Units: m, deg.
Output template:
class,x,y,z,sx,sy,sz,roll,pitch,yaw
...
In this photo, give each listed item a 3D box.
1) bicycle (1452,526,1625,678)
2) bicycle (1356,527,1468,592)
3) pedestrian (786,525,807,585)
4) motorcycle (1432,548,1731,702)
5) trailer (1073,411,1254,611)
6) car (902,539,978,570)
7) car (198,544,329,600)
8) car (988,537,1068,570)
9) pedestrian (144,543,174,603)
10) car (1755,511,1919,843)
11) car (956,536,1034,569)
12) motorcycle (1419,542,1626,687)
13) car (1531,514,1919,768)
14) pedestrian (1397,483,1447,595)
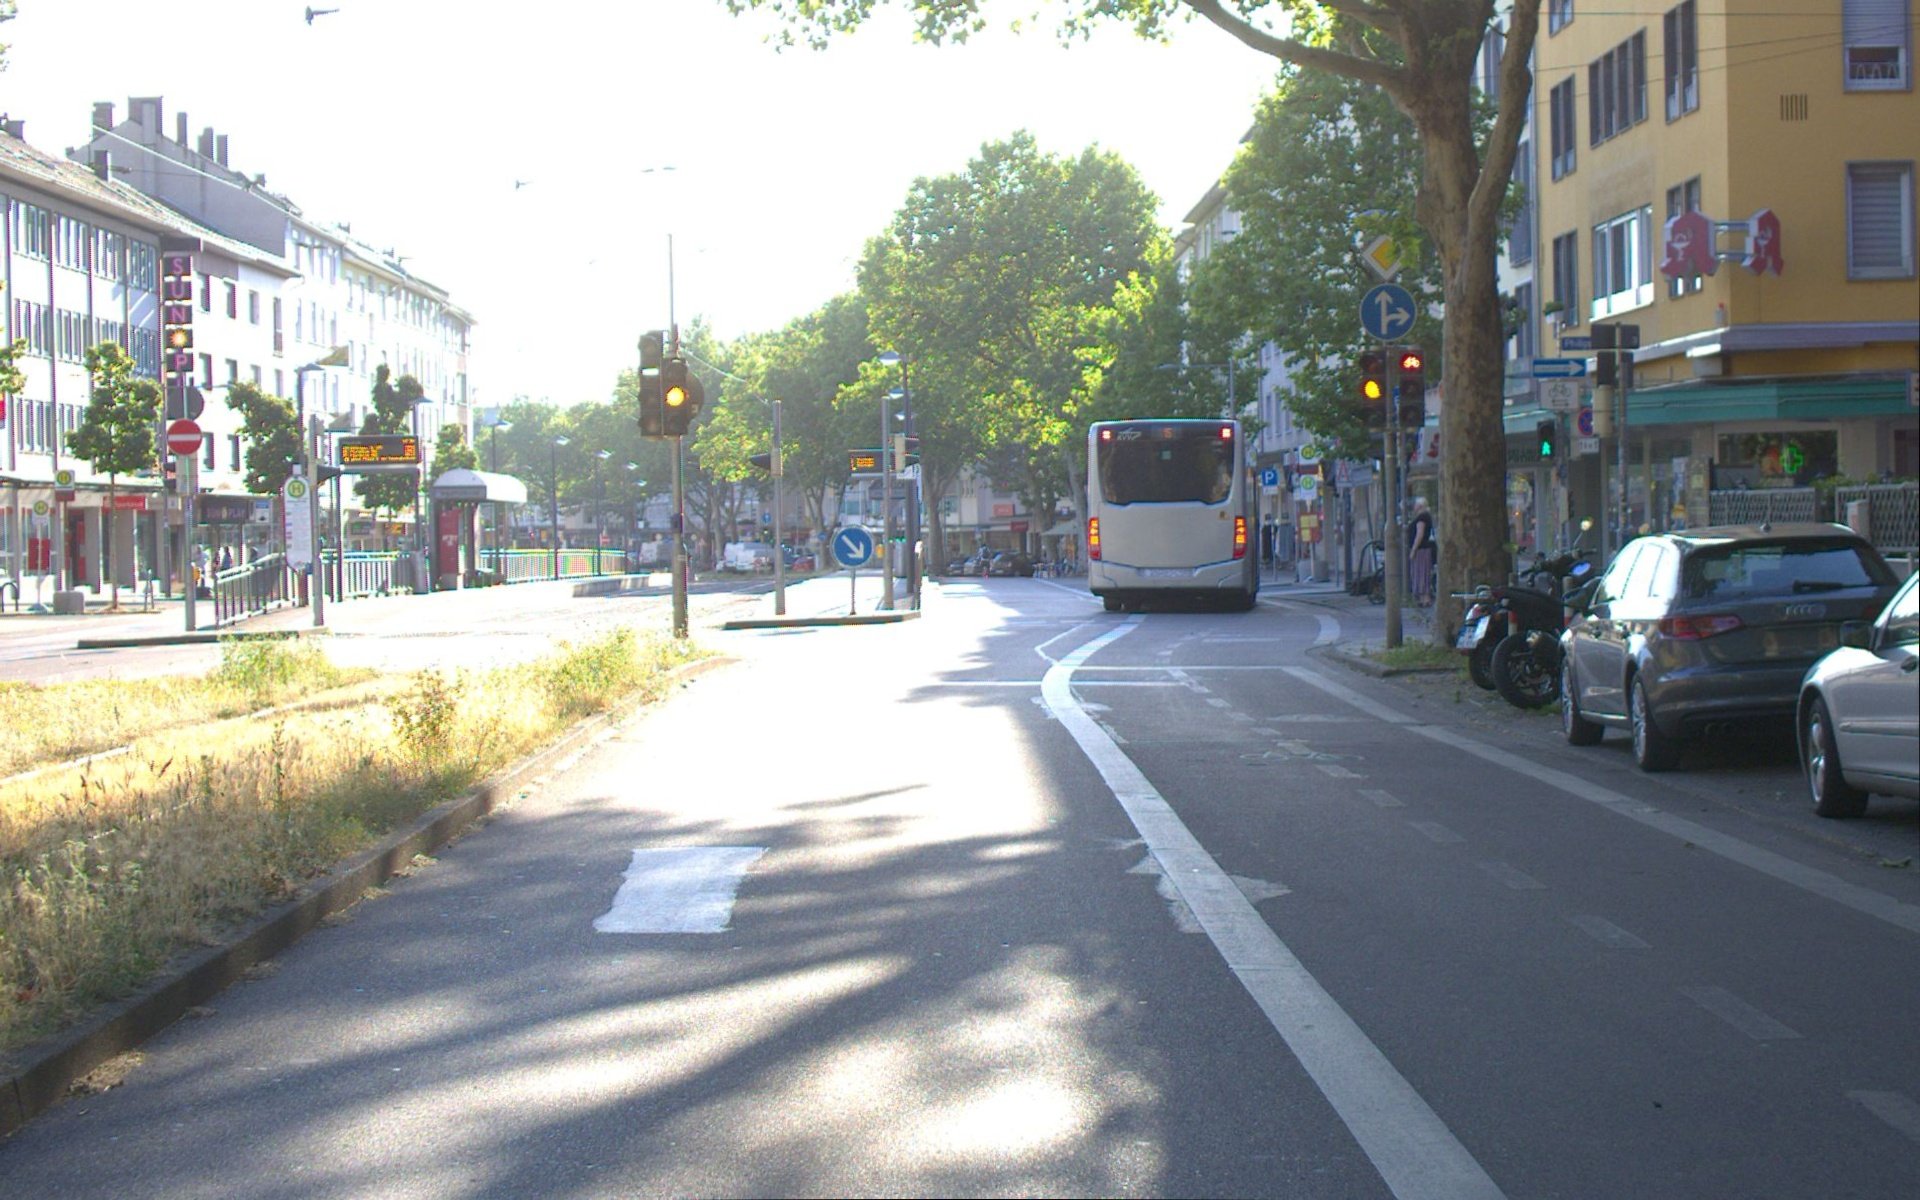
class,x,y,z,sx,sy,sz,roll,pitch,yaw
bicycle,5.171,0.000,30.656,0.695,1.199,1.843,2,5,39
bicycle,7.691,-0.687,58.539,1.772,1.018,0.694,-3,1,0
pedestrian,-2.418,-0.668,50.918,0.291,0.872,0.344,1,1,-3
motorcycle,4.902,0.179,27.107,2.205,1.059,0.767,-4,2,-22
trailer,3.526,-1.493,58.496,2.812,3.099,8.793,1,1,4
car,-1.140,-2.572,193.955,3.889,1.591,1.691,-2,2,-28
car,-23.829,-0.977,117.582,3.986,1.809,2.000,-2,2,-26
car,3.670,-2.538,186.172,3.889,1.693,1.833,-2,2,-28
pedestrian,-26.936,-0.926,115.641,0.708,2.007,0.948,0,1,7
car,5.039,0.320,15.493,1.674,1.446,4.571,-1,2,-2
car,1.939,-2.620,189.330,3.889,1.693,1.833,-2,2,-28
motorcycle,4.802,0.108,29.282,1.993,1.148,0.601,-3,2,-42
car,4.825,0.181,21.759,1.710,1.392,4.322,-1,2,1
pedestrian,7.373,-0.972,54.890,0.680,1.764,0.687,-1,1,1
